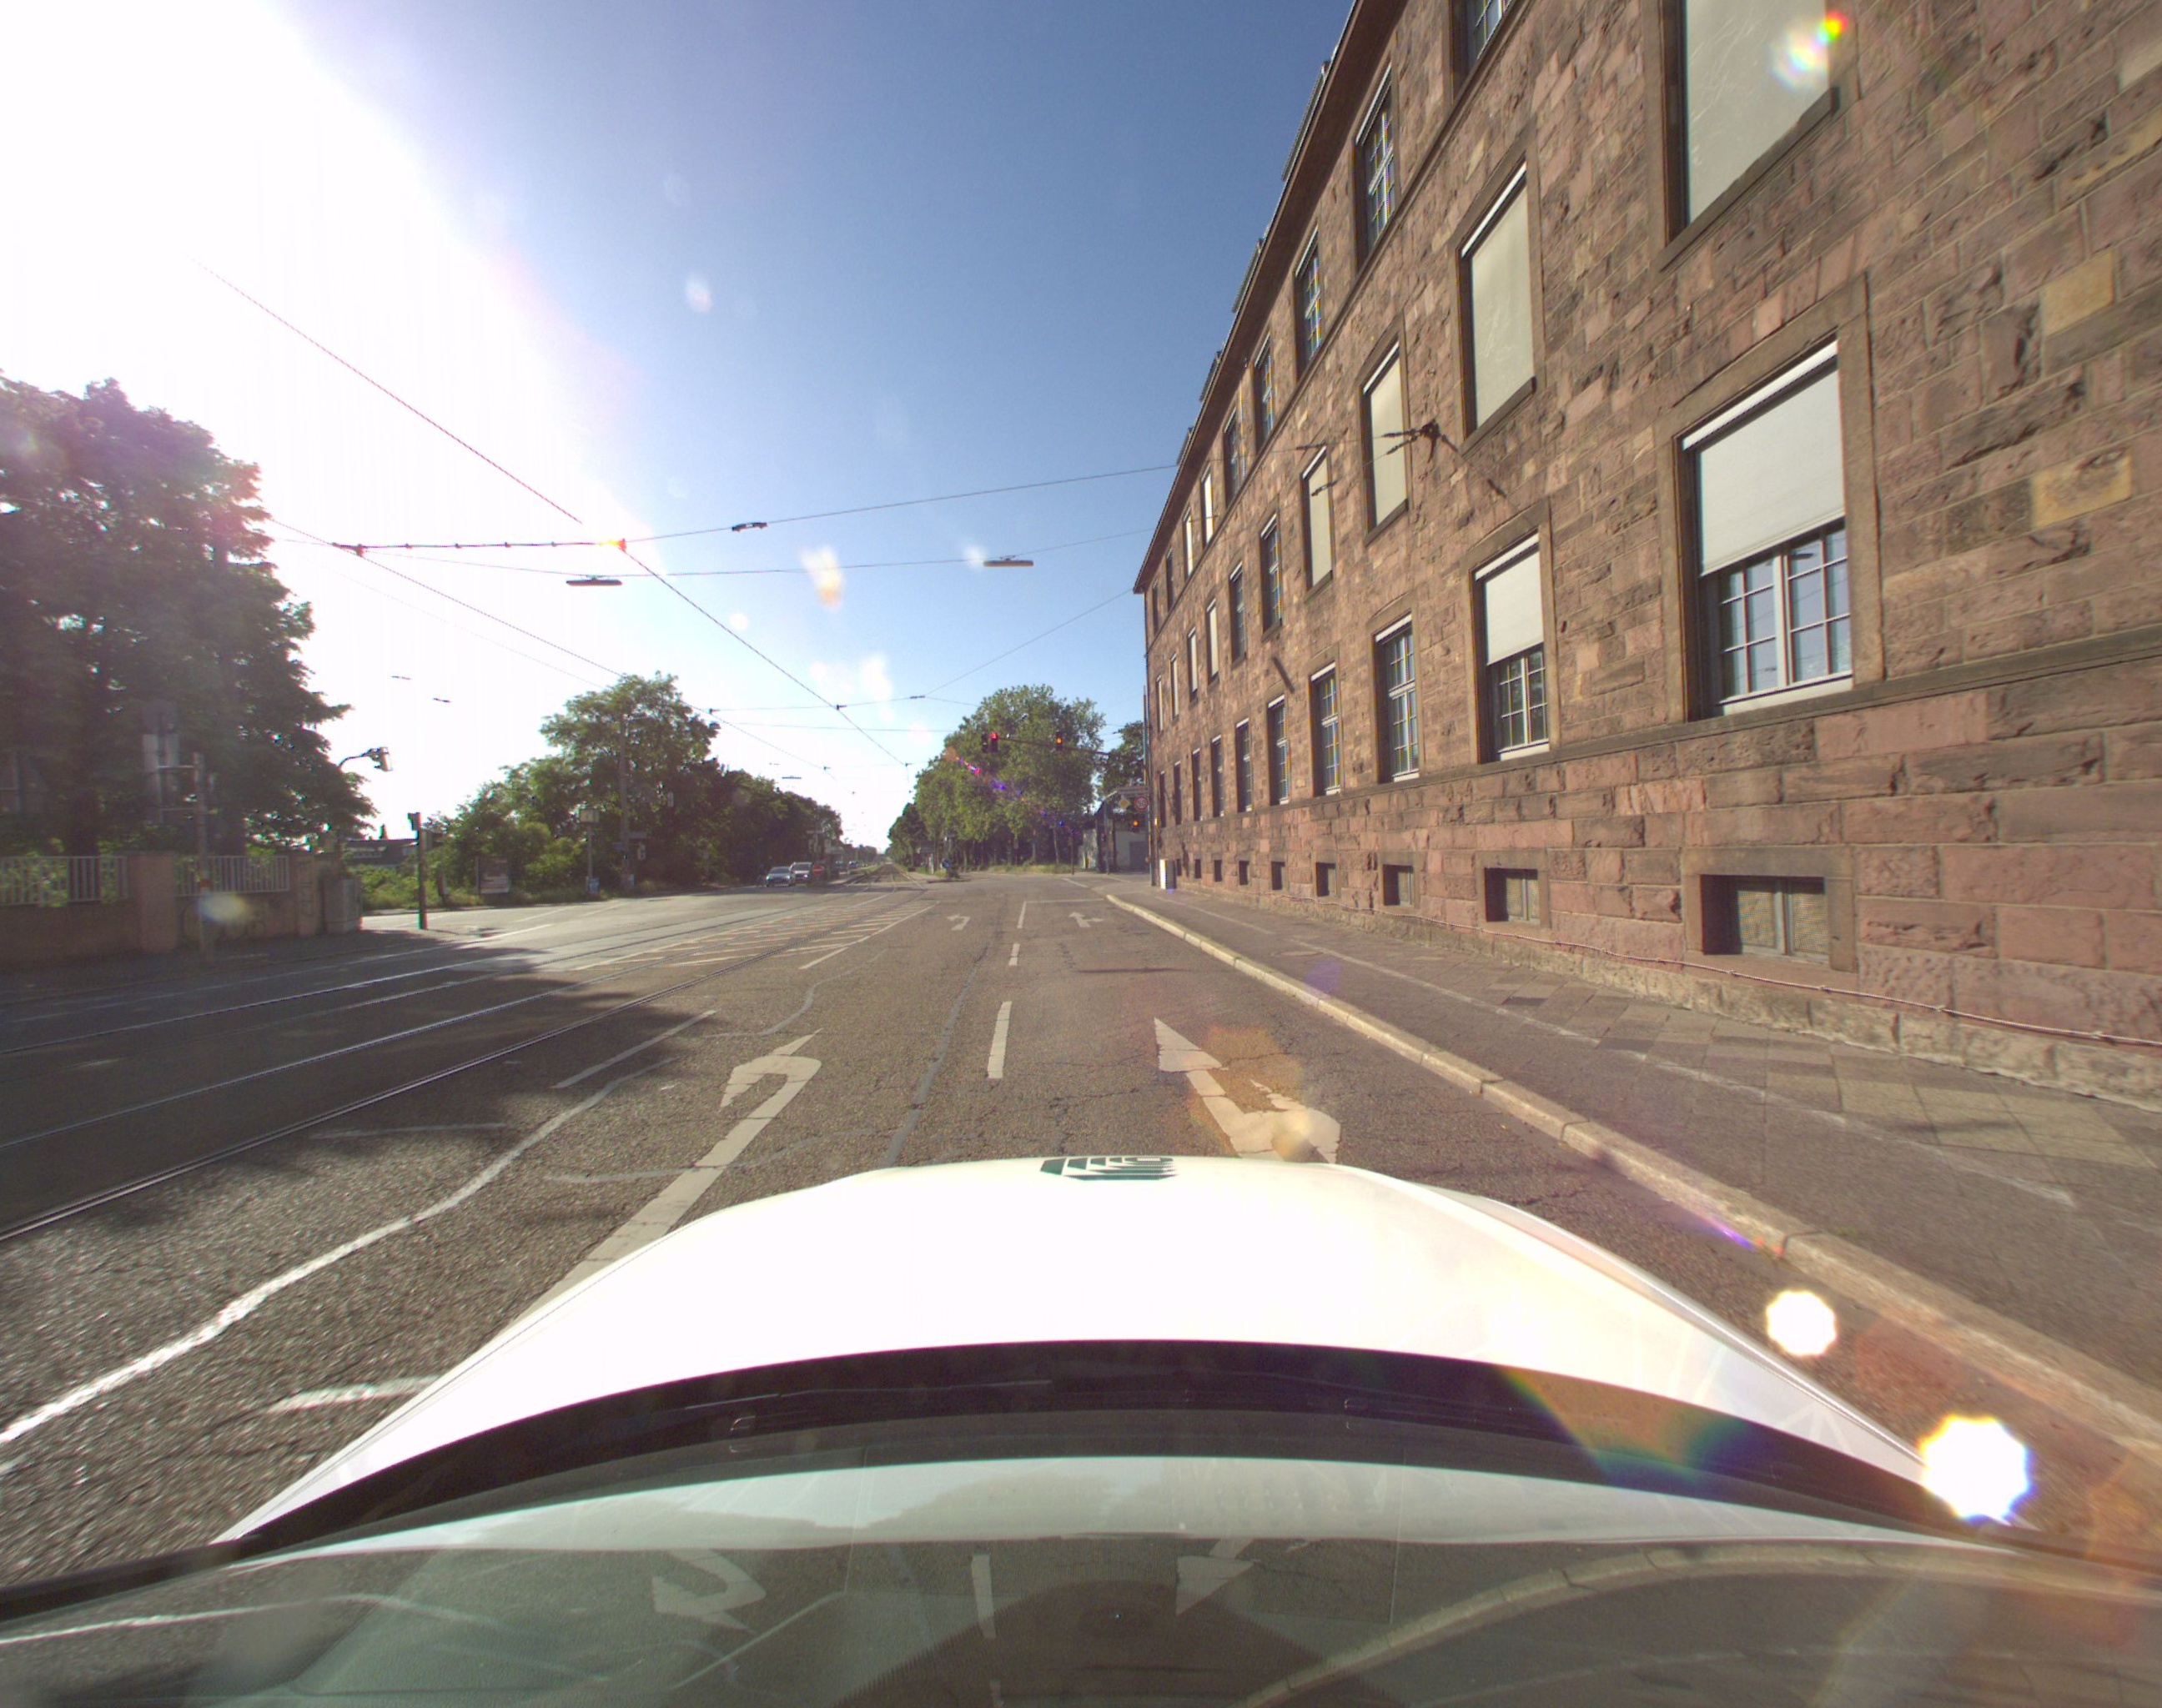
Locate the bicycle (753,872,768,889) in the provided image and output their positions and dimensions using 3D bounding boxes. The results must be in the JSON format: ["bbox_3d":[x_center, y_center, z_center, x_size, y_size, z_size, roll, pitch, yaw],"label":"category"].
[{"bbox_3d":[-21.916,1.798,55.720,0.751,1.087,2.163,-2,0,-18],"label":"bicycle"}]

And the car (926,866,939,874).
[{"bbox_3d":[-34.416,3.700,188.499,1.952,1.610,3.968,-2,0,-24],"label":"car"}]

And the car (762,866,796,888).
[{"bbox_3d":[-21.982,1.641,59.341,1.998,1.504,3.977,-2,0,-17],"label":"car"}]

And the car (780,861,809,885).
[{"bbox_3d":[-23.077,1.521,65.690,1.998,1.760,3.977,-2,0,-17],"label":"car"}]

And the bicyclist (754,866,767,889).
[{"bbox_3d":[-21.935,1.583,55.752,0.751,1.504,0.958,-2,0,-19],"label":"bicyclist"}]
